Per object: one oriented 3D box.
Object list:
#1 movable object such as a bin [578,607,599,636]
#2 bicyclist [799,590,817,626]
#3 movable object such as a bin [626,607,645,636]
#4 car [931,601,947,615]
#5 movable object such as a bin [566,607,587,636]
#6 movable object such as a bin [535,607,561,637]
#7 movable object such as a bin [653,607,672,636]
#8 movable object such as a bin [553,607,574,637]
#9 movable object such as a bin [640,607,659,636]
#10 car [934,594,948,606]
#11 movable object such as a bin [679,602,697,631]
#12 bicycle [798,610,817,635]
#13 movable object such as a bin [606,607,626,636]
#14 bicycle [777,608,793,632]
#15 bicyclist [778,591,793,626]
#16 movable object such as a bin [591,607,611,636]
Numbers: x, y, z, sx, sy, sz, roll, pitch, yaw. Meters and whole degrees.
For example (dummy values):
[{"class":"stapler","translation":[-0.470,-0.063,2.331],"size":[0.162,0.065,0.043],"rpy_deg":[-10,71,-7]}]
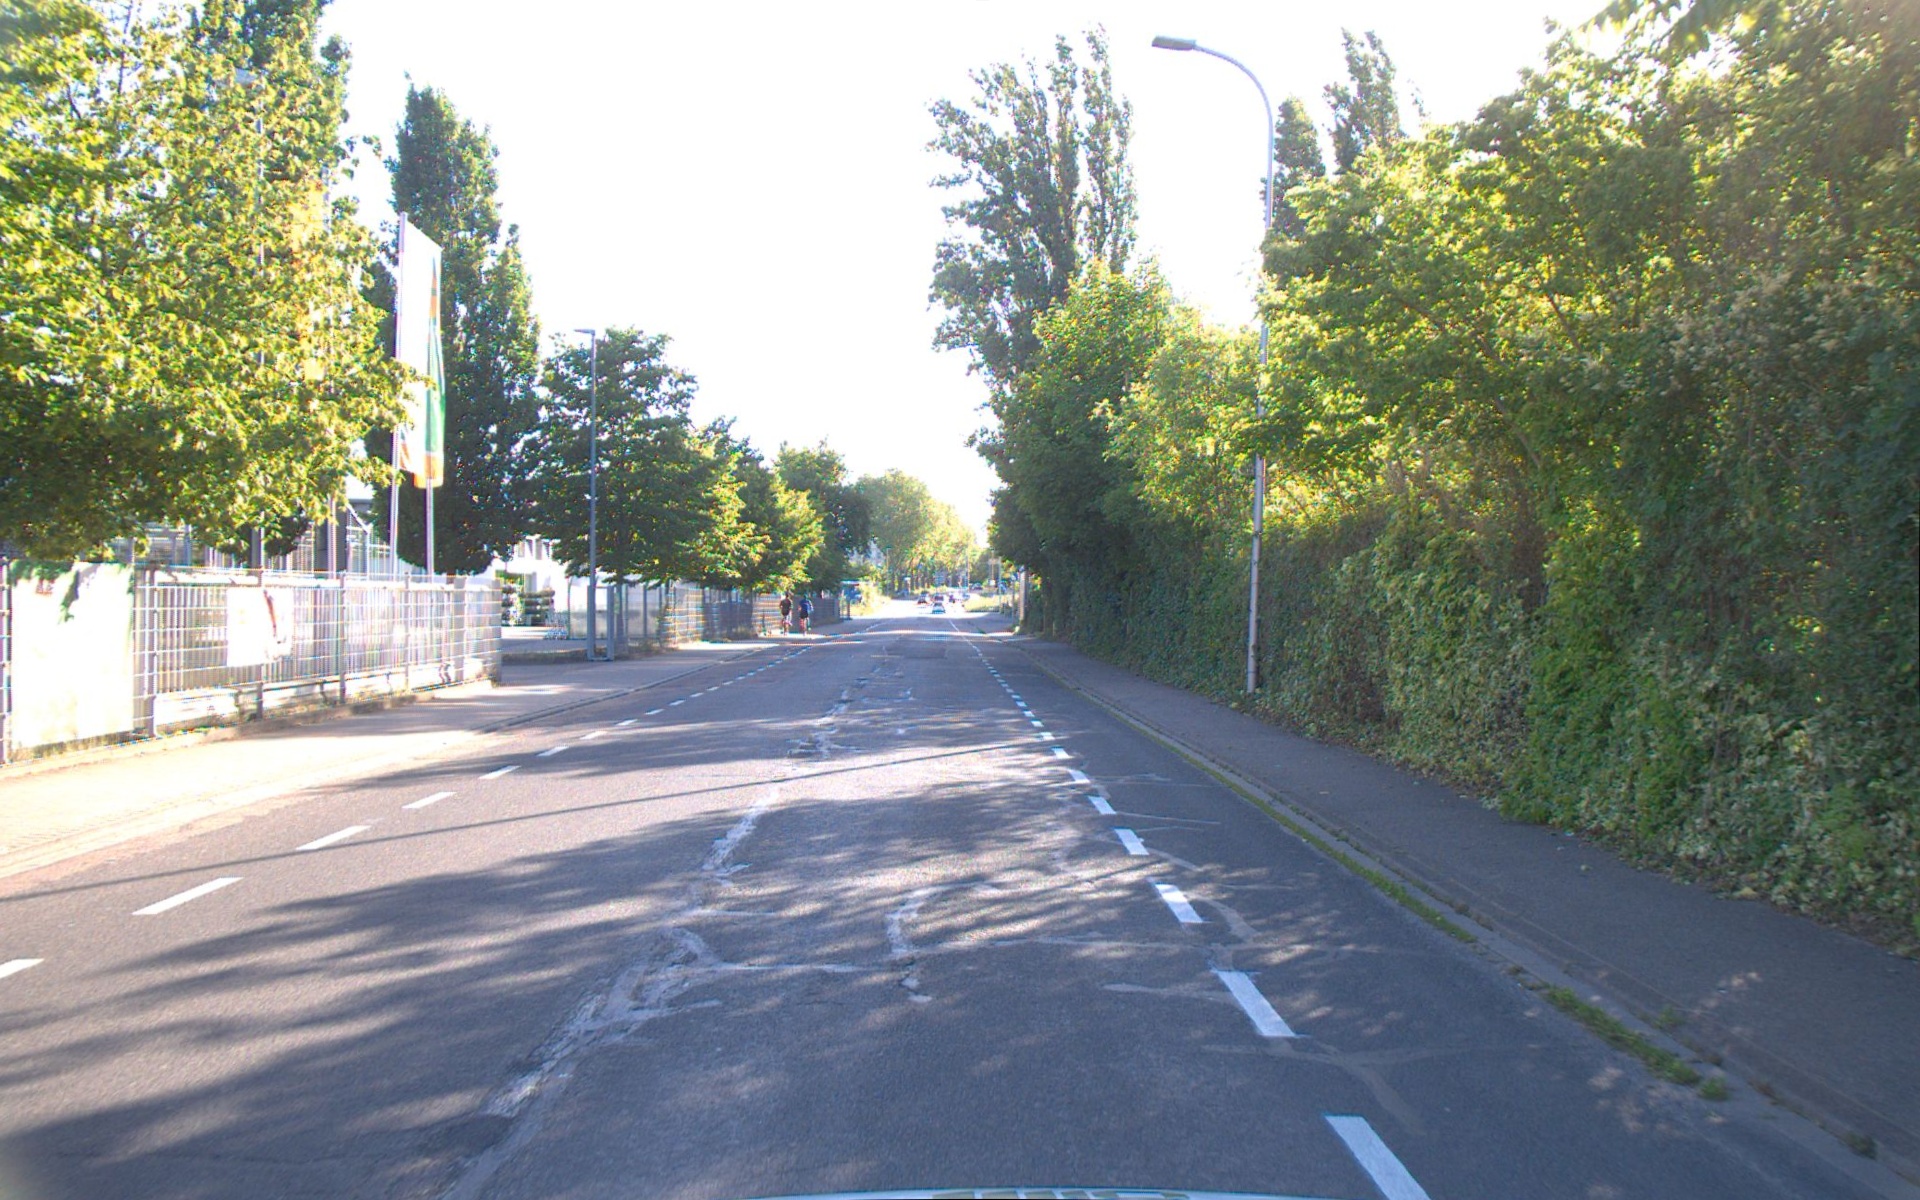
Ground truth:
[{"class":"movable object such as a bin","translation":[-14.217,0.825,63.316],"size":[0.453,1.095,1.569],"rpy_deg":[0,0,-1]},{"class":"bicyclist","translation":[-6.719,0.367,73.168],"size":[0.675,1.558,0.722],"rpy_deg":[2,0,-1]},{"class":"movable object such as a bin","translation":[-12.431,0.816,63.392],"size":[0.453,1.095,1.569],"rpy_deg":[0,0,-1]},{"class":"car","translation":[-2.584,0.950,202.245],"size":[1.903,1.680,4.309],"rpy_deg":[2,0,-1]},{"class":"movable object such as a bin","translation":[-14.700,0.830,63.411],"size":[0.453,1.095,1.569],"rpy_deg":[0,0,-1]},{"class":"movable object such as a bin","translation":[-15.776,0.837,63.340],"size":[0.606,1.095,1.569],"rpy_deg":[0,0,-1]},{"class":"movable object such as a bin","translation":[-11.392,0.808,63.298],"size":[0.453,1.095,1.569],"rpy_deg":[0,0,-1]},{"class":"movable object such as a bin","translation":[-15.204,0.833,63.422],"size":[0.453,1.095,1.569],"rpy_deg":[0,0,-1]},{"class":"movable object such as a bin","translation":[-11.898,0.814,63.467],"size":[0.453,1.095,1.569],"rpy_deg":[0,0,-1]},{"class":"car","translation":[-2.797,-0.001,243.328],"size":[1.903,1.680,4.309],"rpy_deg":[2,0,-1]},{"class":"movable object such as a bin","translation":[-10.400,0.638,63.264],"size":[0.453,1.095,1.569],"rpy_deg":[0,0,-1]},{"class":"bicycle","translation":[-6.741,0.981,73.209],"size":[0.675,1.052,1.350],"rpy_deg":[2,0,-1]},{"class":"movable object such as a bin","translation":[-13.153,0.819,63.301],"size":[0.453,1.095,1.569],"rpy_deg":[0,0,-1]},{"class":"bicycle","translation":[-7.752,0.881,73.439],"size":[0.551,1.052,1.350],"rpy_deg":[2,0,-1]},{"class":"bicyclist","translation":[-7.730,0.375,73.361],"size":[0.548,1.560,0.689],"rpy_deg":[2,0,-1]},{"class":"movable object such as a bin","translation":[-13.714,0.821,63.228],"size":[0.453,1.095,1.569],"rpy_deg":[0,0,-1]}]
